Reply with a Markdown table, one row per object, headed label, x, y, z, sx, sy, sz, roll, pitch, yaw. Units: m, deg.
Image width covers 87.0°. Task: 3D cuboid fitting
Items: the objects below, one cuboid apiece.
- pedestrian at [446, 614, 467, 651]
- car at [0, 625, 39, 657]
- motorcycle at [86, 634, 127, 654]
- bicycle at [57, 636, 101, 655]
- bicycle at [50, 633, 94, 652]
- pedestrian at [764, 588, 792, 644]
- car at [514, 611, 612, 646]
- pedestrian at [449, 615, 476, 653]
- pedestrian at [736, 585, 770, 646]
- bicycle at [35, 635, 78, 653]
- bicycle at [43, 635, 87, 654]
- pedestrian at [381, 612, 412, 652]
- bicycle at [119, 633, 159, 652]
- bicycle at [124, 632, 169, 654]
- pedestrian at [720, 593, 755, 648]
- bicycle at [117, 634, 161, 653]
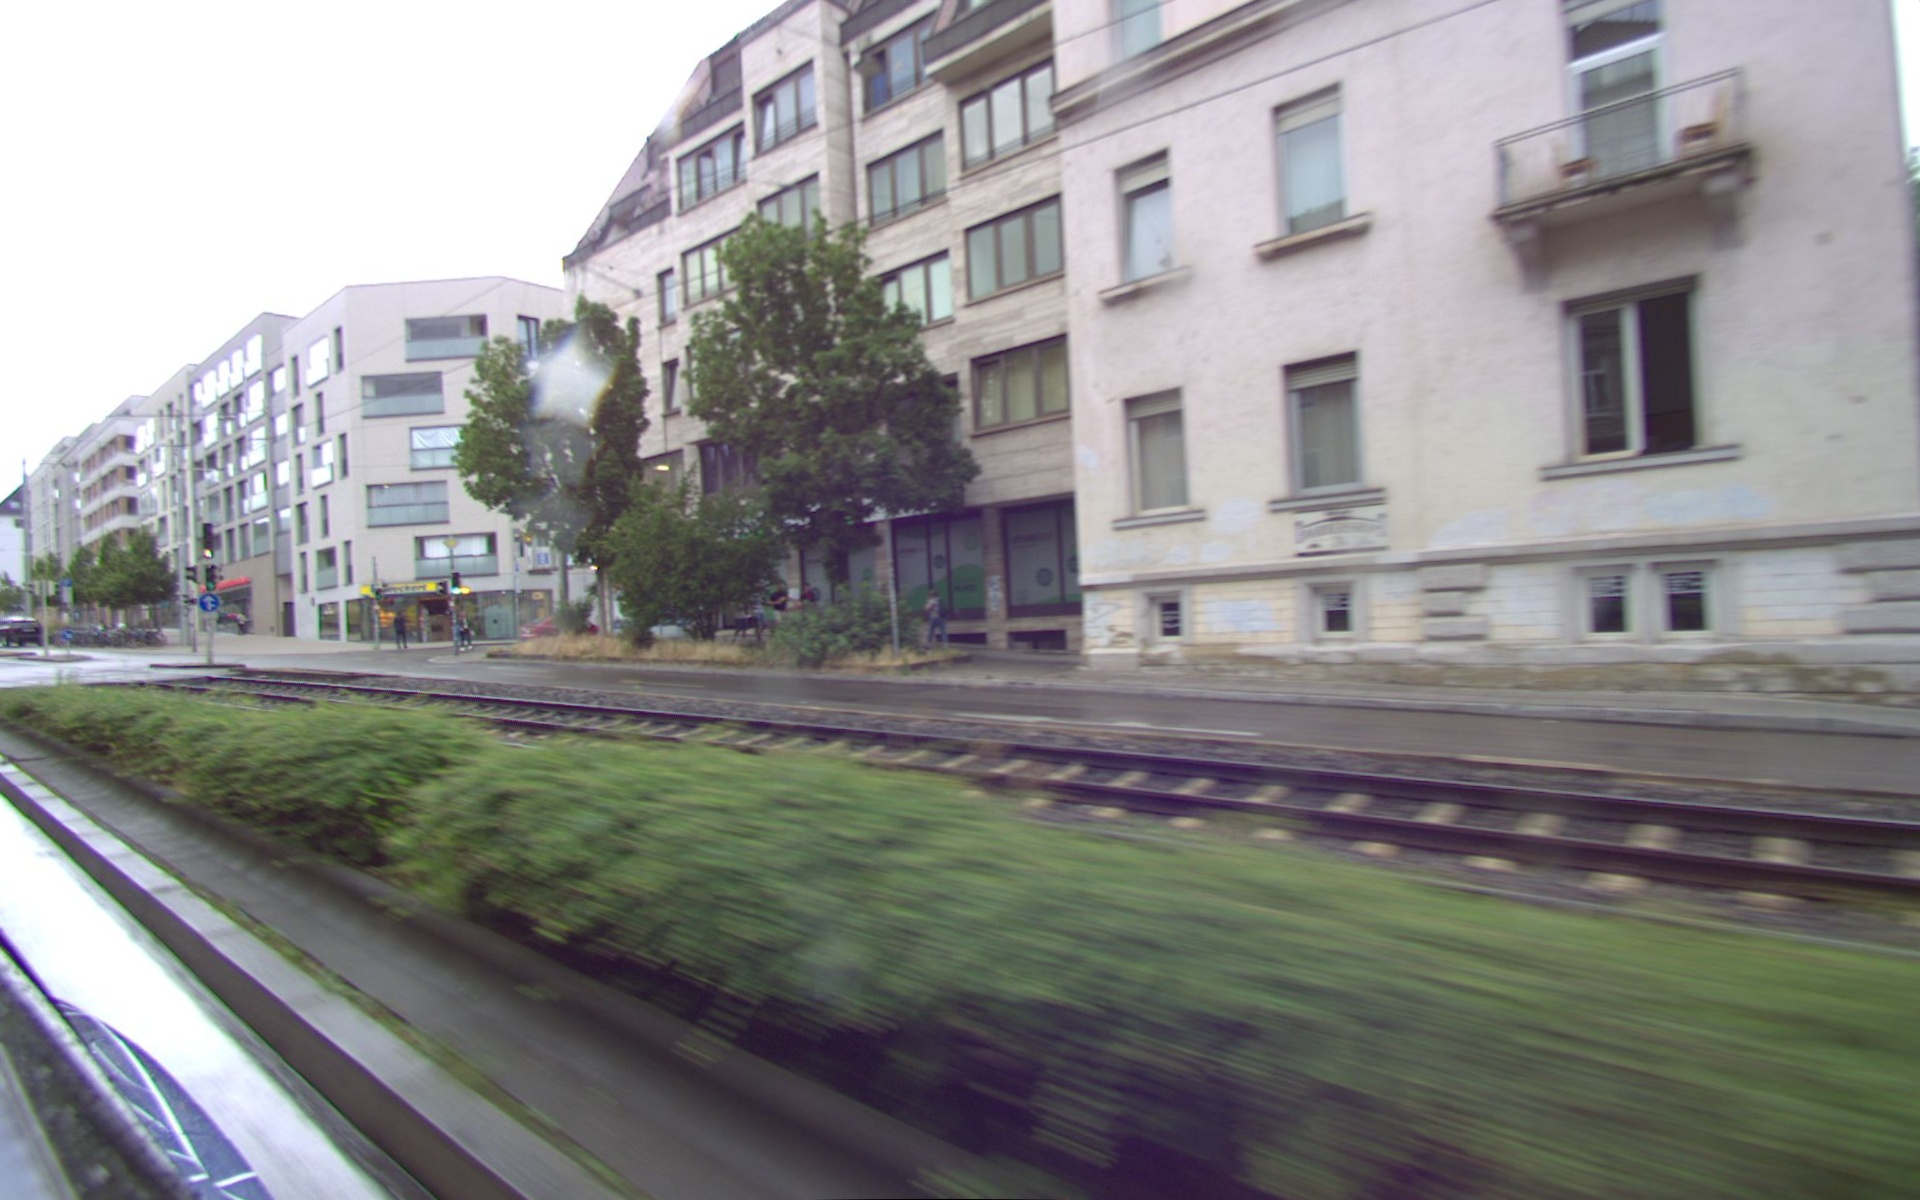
| label | x | y | z | sx | sy | sz | roll | pitch | yaw |
| --- | --- | --- | --- | --- | --- | --- | --- | --- | --- |
| pedestrian | -24.419 | 1.568 | 49.088 | 0.580 | 1.723 | 0.701 | -1 | 1 | 17 |
| car | -53.643 | 2.269 | 56.788 | 4.312 | 1.615 | 1.669 | 0 | 2 | 30 |
| motorcycle | -49.341 | 2.534 | 58.537 | 0.540 | 1.050 | 1.748 | 1 | 1 | 26 |
| bicycle | -47.359 | 2.428 | 54.433 | 0.385 | 0.924 | 1.774 | -1 | 1 | 26 |
| bicycle | -48.188 | 2.301 | 54.954 | 0.385 | 0.924 | 1.774 | -1 | 1 | 26 |
| pedestrian | -5.314 | 0.464 | 29.586 | 0.585 | 1.609 | 0.499 | 0 | 3 | 39 |
| car | -17.255 | 1.216 | 44.121 | 3.651 | 1.327 | 1.595 | -2 | 1 | -44 |
| pedestrian | -21.504 | 1.475 | 43.718 | 0.767 | 1.580 | 0.648 | -2 | 2 | 3 |
| pedestrian | -6.106 | 0.449 | 29.912 | 0.683 | 1.737 | 0.641 | 0 | 3 | 39 |
| bicycle | -49.868 | 2.423 | 55.879 | 0.385 | 0.924 | 1.774 | -1 | 1 | 26 |
| bicycle | -48.935 | 2.418 | 55.340 | 0.385 | 0.924 | 1.774 | -1 | 1 | 26 |
| pedestrian | -26.148 | 1.476 | 46.938 | 0.956 | 1.843 | 0.923 | 0 | 0 | 33 |
| bicycle | -43.865 | 2.268 | 54.077 | 0.383 | 0.924 | 1.783 | -1 | 2 | 11 |
| bicycle | -42.364 | 2.219 | 52.732 | 0.438 | 0.987 | 1.774 | -1 | 2 | 26 |
| pedestrian | -6.440 | 0.583 | 29.312 | 0.683 | 1.560 | 0.641 | 0 | 3 | 39 |
| bicycle | -43.323 | 2.297 | 53.448 | 0.385 | 0.883 | 1.772 | 0 | 2 | 28 |
